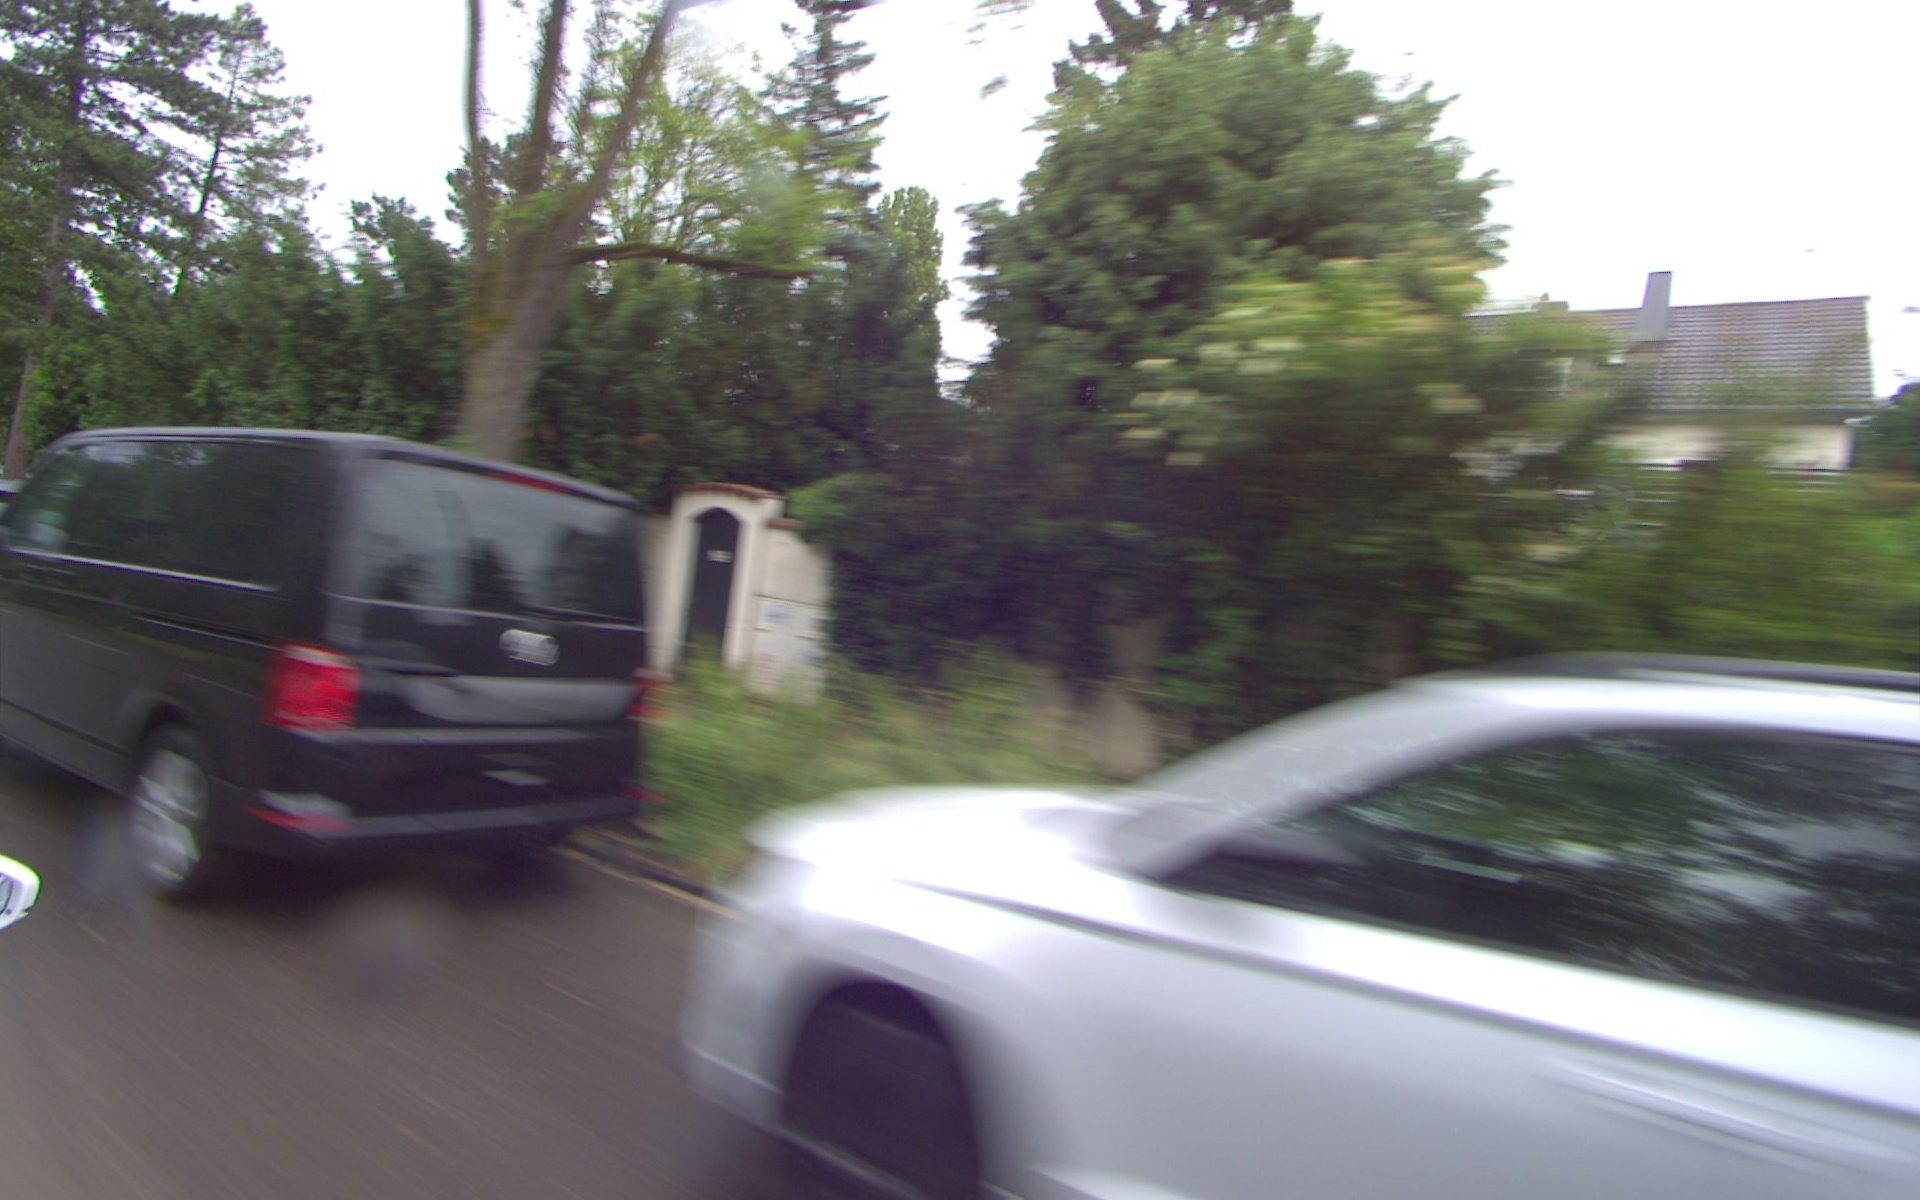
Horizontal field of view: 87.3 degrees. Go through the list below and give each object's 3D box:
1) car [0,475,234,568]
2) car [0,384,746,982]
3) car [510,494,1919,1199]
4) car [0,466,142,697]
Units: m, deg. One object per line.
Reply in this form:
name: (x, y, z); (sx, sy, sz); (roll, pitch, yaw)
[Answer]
car: (-20.158, -1.821, 23.850); (1.967, 1.704, 4.310); (6, 1, 32)
car: (-3.760, 0.115, 5.521); (4.807, 2.037, 1.998); (8, -1, 32)
car: (1.213, 0.877, 2.241); (4.214, 1.631, 1.809); (8, -1, 31)
car: (-9.178, -0.395, 8.744); (4.255, 1.743, 1.777); (8, -1, 32)
